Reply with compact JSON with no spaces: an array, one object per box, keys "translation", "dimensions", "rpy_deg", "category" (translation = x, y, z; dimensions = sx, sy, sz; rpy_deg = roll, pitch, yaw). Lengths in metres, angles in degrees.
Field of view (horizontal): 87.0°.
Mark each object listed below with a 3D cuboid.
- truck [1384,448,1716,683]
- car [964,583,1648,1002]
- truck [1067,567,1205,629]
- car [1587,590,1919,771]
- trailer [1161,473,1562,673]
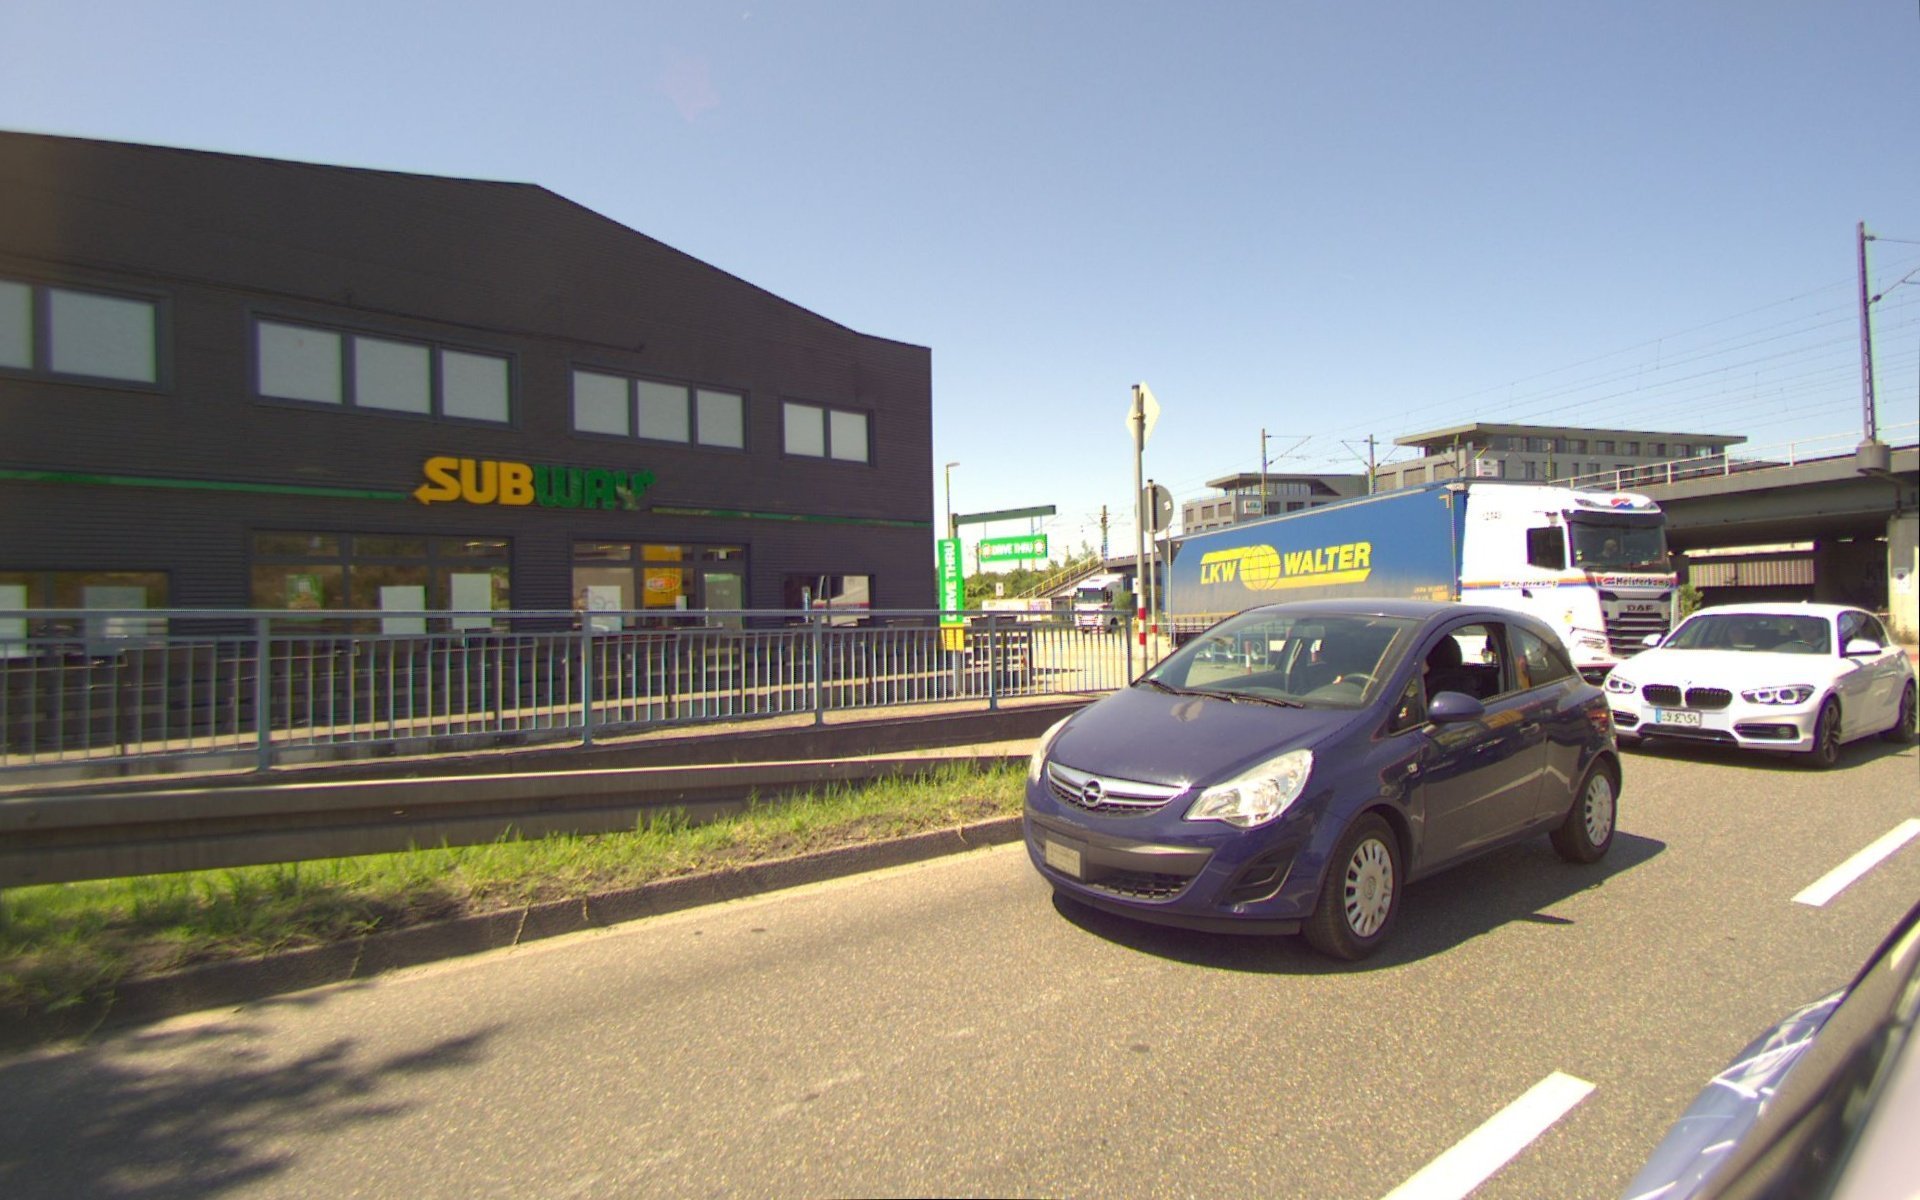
[{"translation":[11.865,-0.633,21.043],"dimensions":[2.522,4.153,5.774],"rpy_deg":[-1,0,-16],"category":"truck"},{"translation":[2.018,0.685,5.385],"dimensions":[3.820,1.462,1.650],"rpy_deg":[0,-1,-38],"category":"car"},{"translation":[13.537,-0.194,75.421],"dimensions":[2.737,4.155,17.211],"rpy_deg":[-1,0,37],"category":"truck"},{"translation":[8.202,0.651,10.209],"dimensions":[3.976,1.461,1.764],"rpy_deg":[0,1,-35],"category":"car"},{"translation":[9.822,-0.475,28.010],"dimensions":[2.448,4.142,13.930],"rpy_deg":[-1,-1,-15],"category":"trailer"}]
